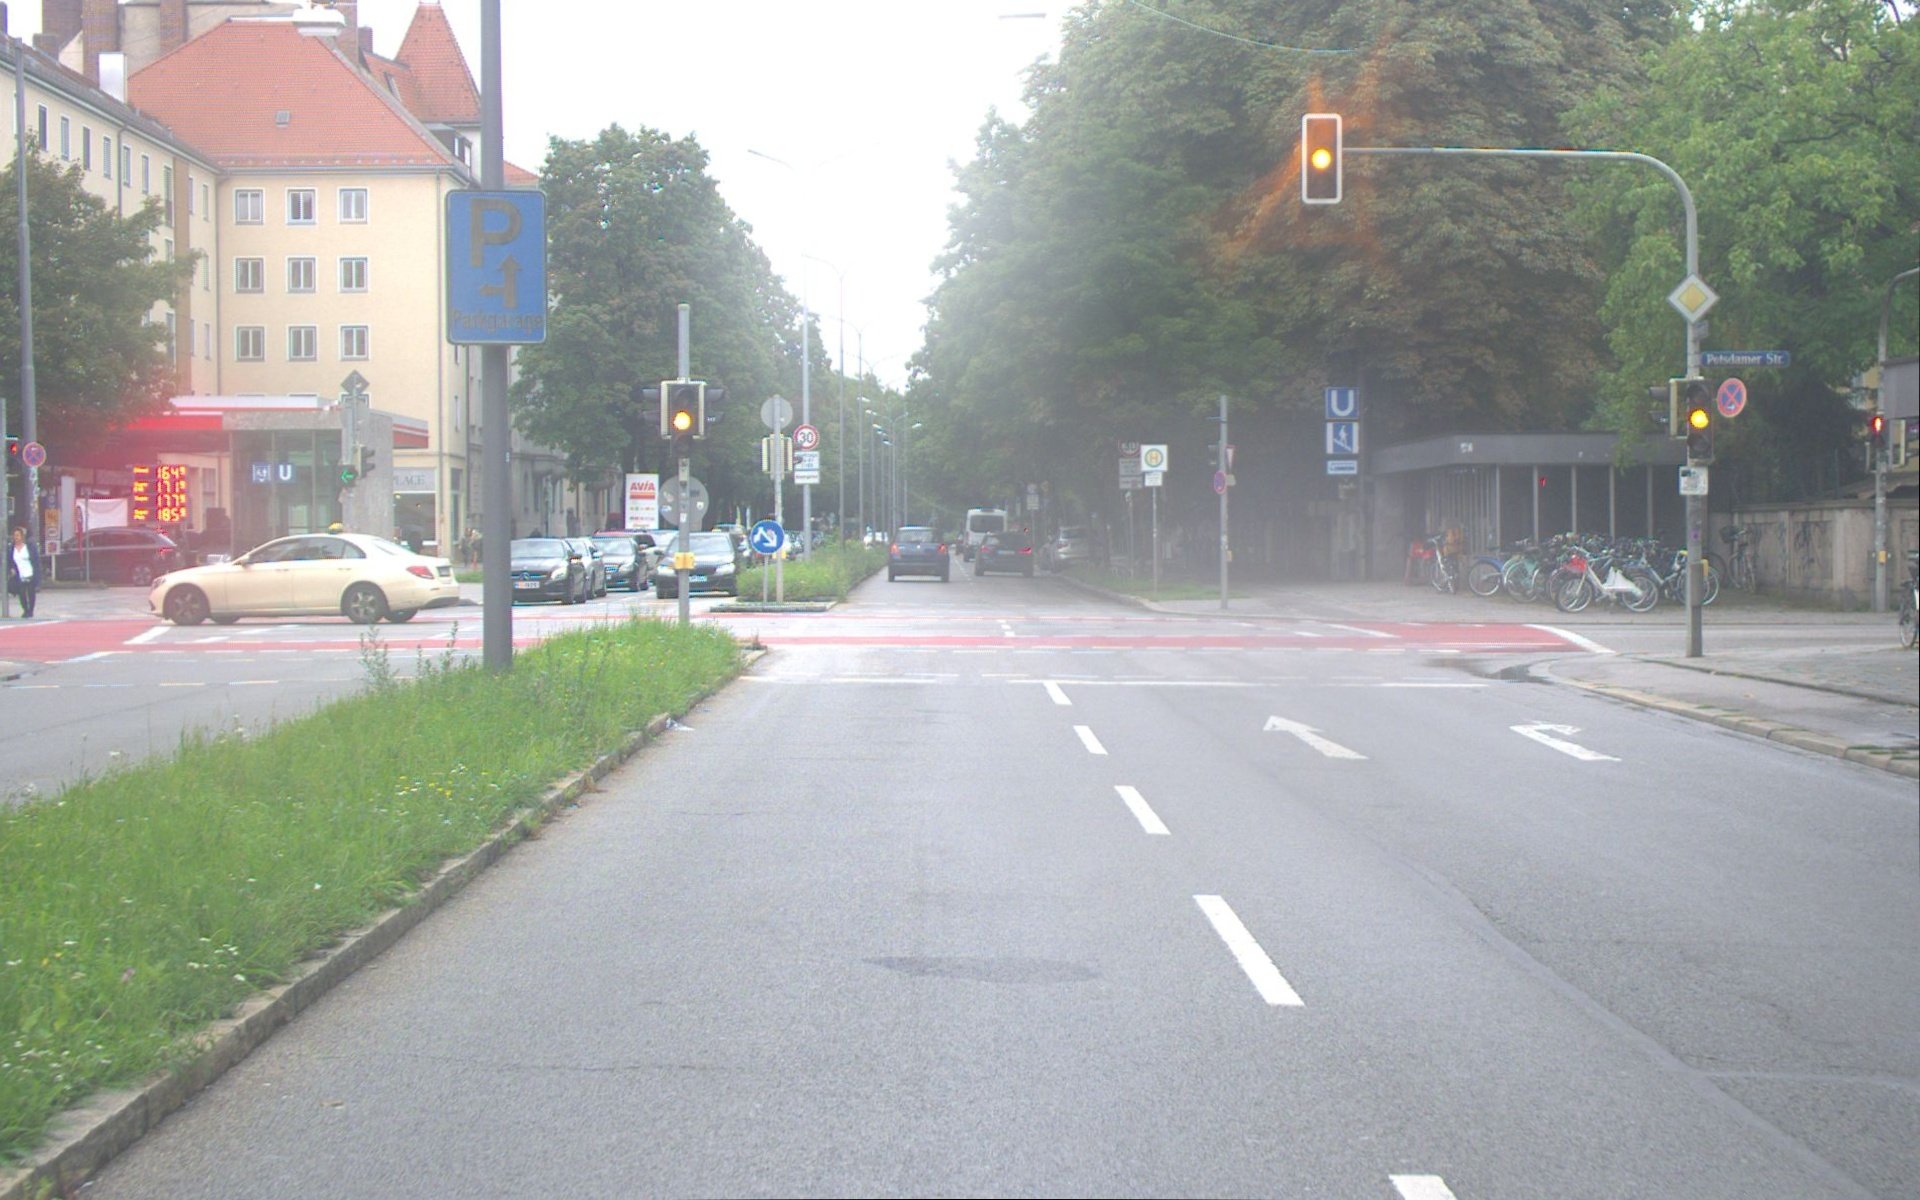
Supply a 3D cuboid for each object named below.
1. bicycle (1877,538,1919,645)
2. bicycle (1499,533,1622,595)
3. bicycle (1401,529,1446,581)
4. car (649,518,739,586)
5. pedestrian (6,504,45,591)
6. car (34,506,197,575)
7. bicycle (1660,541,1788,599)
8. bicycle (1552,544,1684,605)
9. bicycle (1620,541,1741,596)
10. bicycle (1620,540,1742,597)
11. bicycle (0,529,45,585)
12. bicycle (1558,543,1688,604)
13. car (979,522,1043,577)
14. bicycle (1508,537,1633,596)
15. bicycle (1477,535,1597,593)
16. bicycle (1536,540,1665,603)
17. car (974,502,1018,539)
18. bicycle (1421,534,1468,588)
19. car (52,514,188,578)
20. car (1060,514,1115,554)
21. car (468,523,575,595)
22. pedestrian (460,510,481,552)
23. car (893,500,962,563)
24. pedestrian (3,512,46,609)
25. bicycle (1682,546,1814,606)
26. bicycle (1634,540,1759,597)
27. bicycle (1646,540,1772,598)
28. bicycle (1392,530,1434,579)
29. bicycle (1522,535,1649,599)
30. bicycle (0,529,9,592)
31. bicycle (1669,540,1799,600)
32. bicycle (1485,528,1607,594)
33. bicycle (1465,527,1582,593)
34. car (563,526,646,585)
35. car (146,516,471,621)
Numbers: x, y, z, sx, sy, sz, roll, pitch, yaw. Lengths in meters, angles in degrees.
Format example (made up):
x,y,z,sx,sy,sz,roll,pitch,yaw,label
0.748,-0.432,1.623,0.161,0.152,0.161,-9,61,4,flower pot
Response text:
x,y,z,sx,sy,sz,roll,pitch,yaw,label
10.371,-0.100,36.813,0.599,1.117,1.890,0,1,0,bicycle
10.690,-0.640,61.245,2.144,1.082,0.603,0,1,8,bicycle
9.370,-0.920,69.536,0.556,1.011,2.016,0,1,-2,bicycle
-5.990,-1.104,77.682,1.760,1.488,4.000,0,1,-1,car
-18.303,-1.028,67.356,0.589,1.689,0.577,-1,1,-31,pedestrian
-22.797,-1.625,92.907,3.986,1.831,1.881,0,1,-3,car
13.373,-0.530,60.199,2.144,1.011,0.634,0,1,8,bicycle
11.044,-0.428,57.718,2.144,1.011,0.603,0,1,8,bicycle
13.274,-0.585,63.360,2.144,1.011,0.634,0,1,8,bicycle
13.118,-0.577,62.571,2.144,1.011,0.634,0,1,8,bicycle
-19.484,-0.908,71.431,0.608,1.141,1.966,0,1,-7,bicycle
11.240,-0.453,58.341,2.144,1.011,0.634,0,1,8,bicycle
1.598,-1.609,109.449,1.923,1.678,4.000,1,1,0,car
10.735,-0.589,60.516,2.144,1.011,0.603,0,1,8,bicycle
10.518,-0.657,62.685,2.144,1.058,0.603,0,1,8,bicycle
11.012,-0.495,59.147,2.144,1.067,0.603,0,1,8,bicycle
1.699,-3.789,163.501,1.993,1.750,4.000,0,1,-1,car
9.401,-0.765,66.807,0.556,1.011,2.016,0,1,-2,bicycle
-26.937,-1.739,110.328,3.986,2.007,1.891,0,1,-4,car
4.460,-2.309,120.410,1.743,1.358,3.807,0,1,-1,car
-9.202,-0.880,72.381,1.760,1.455,4.000,0,1,-1,car
-18.983,-2.688,133.256,0.696,1.632,0.738,0,1,0,pedestrian
-0.904,-1.888,94.582,1.857,1.678,4.000,0,1,-1,car
-16.397,-0.702,60.259,0.534,1.689,0.577,0,1,8,pedestrian
13.430,-0.404,58.636,2.144,1.011,0.634,0,1,8,bicycle
13.227,-0.563,61.779,2.144,1.011,0.634,0,1,8,bicycle
13.286,-0.547,60.993,2.144,1.011,0.634,0,1,8,bicycle
9.594,-0.976,72.845,0.556,1.011,2.016,0,1,-2,bicycle
10.869,-0.568,59.801,2.144,1.097,0.603,0,1,8,bicycle
-19.110,-0.765,67.285,0.608,1.231,2.188,0,1,-7,bicycle
13.373,-0.519,59.431,2.144,1.011,0.634,0,1,8,bicycle
10.553,-0.703,61.982,2.144,1.174,0.603,0,1,8,bicycle
10.536,-0.755,64.284,2.144,1.214,0.603,0,1,8,bicycle
-9.108,-1.165,88.373,1.760,1.455,4.000,0,1,-1,car
-10.377,-0.519,54.851,4.767,1.641,1.784,0,1,10,car
